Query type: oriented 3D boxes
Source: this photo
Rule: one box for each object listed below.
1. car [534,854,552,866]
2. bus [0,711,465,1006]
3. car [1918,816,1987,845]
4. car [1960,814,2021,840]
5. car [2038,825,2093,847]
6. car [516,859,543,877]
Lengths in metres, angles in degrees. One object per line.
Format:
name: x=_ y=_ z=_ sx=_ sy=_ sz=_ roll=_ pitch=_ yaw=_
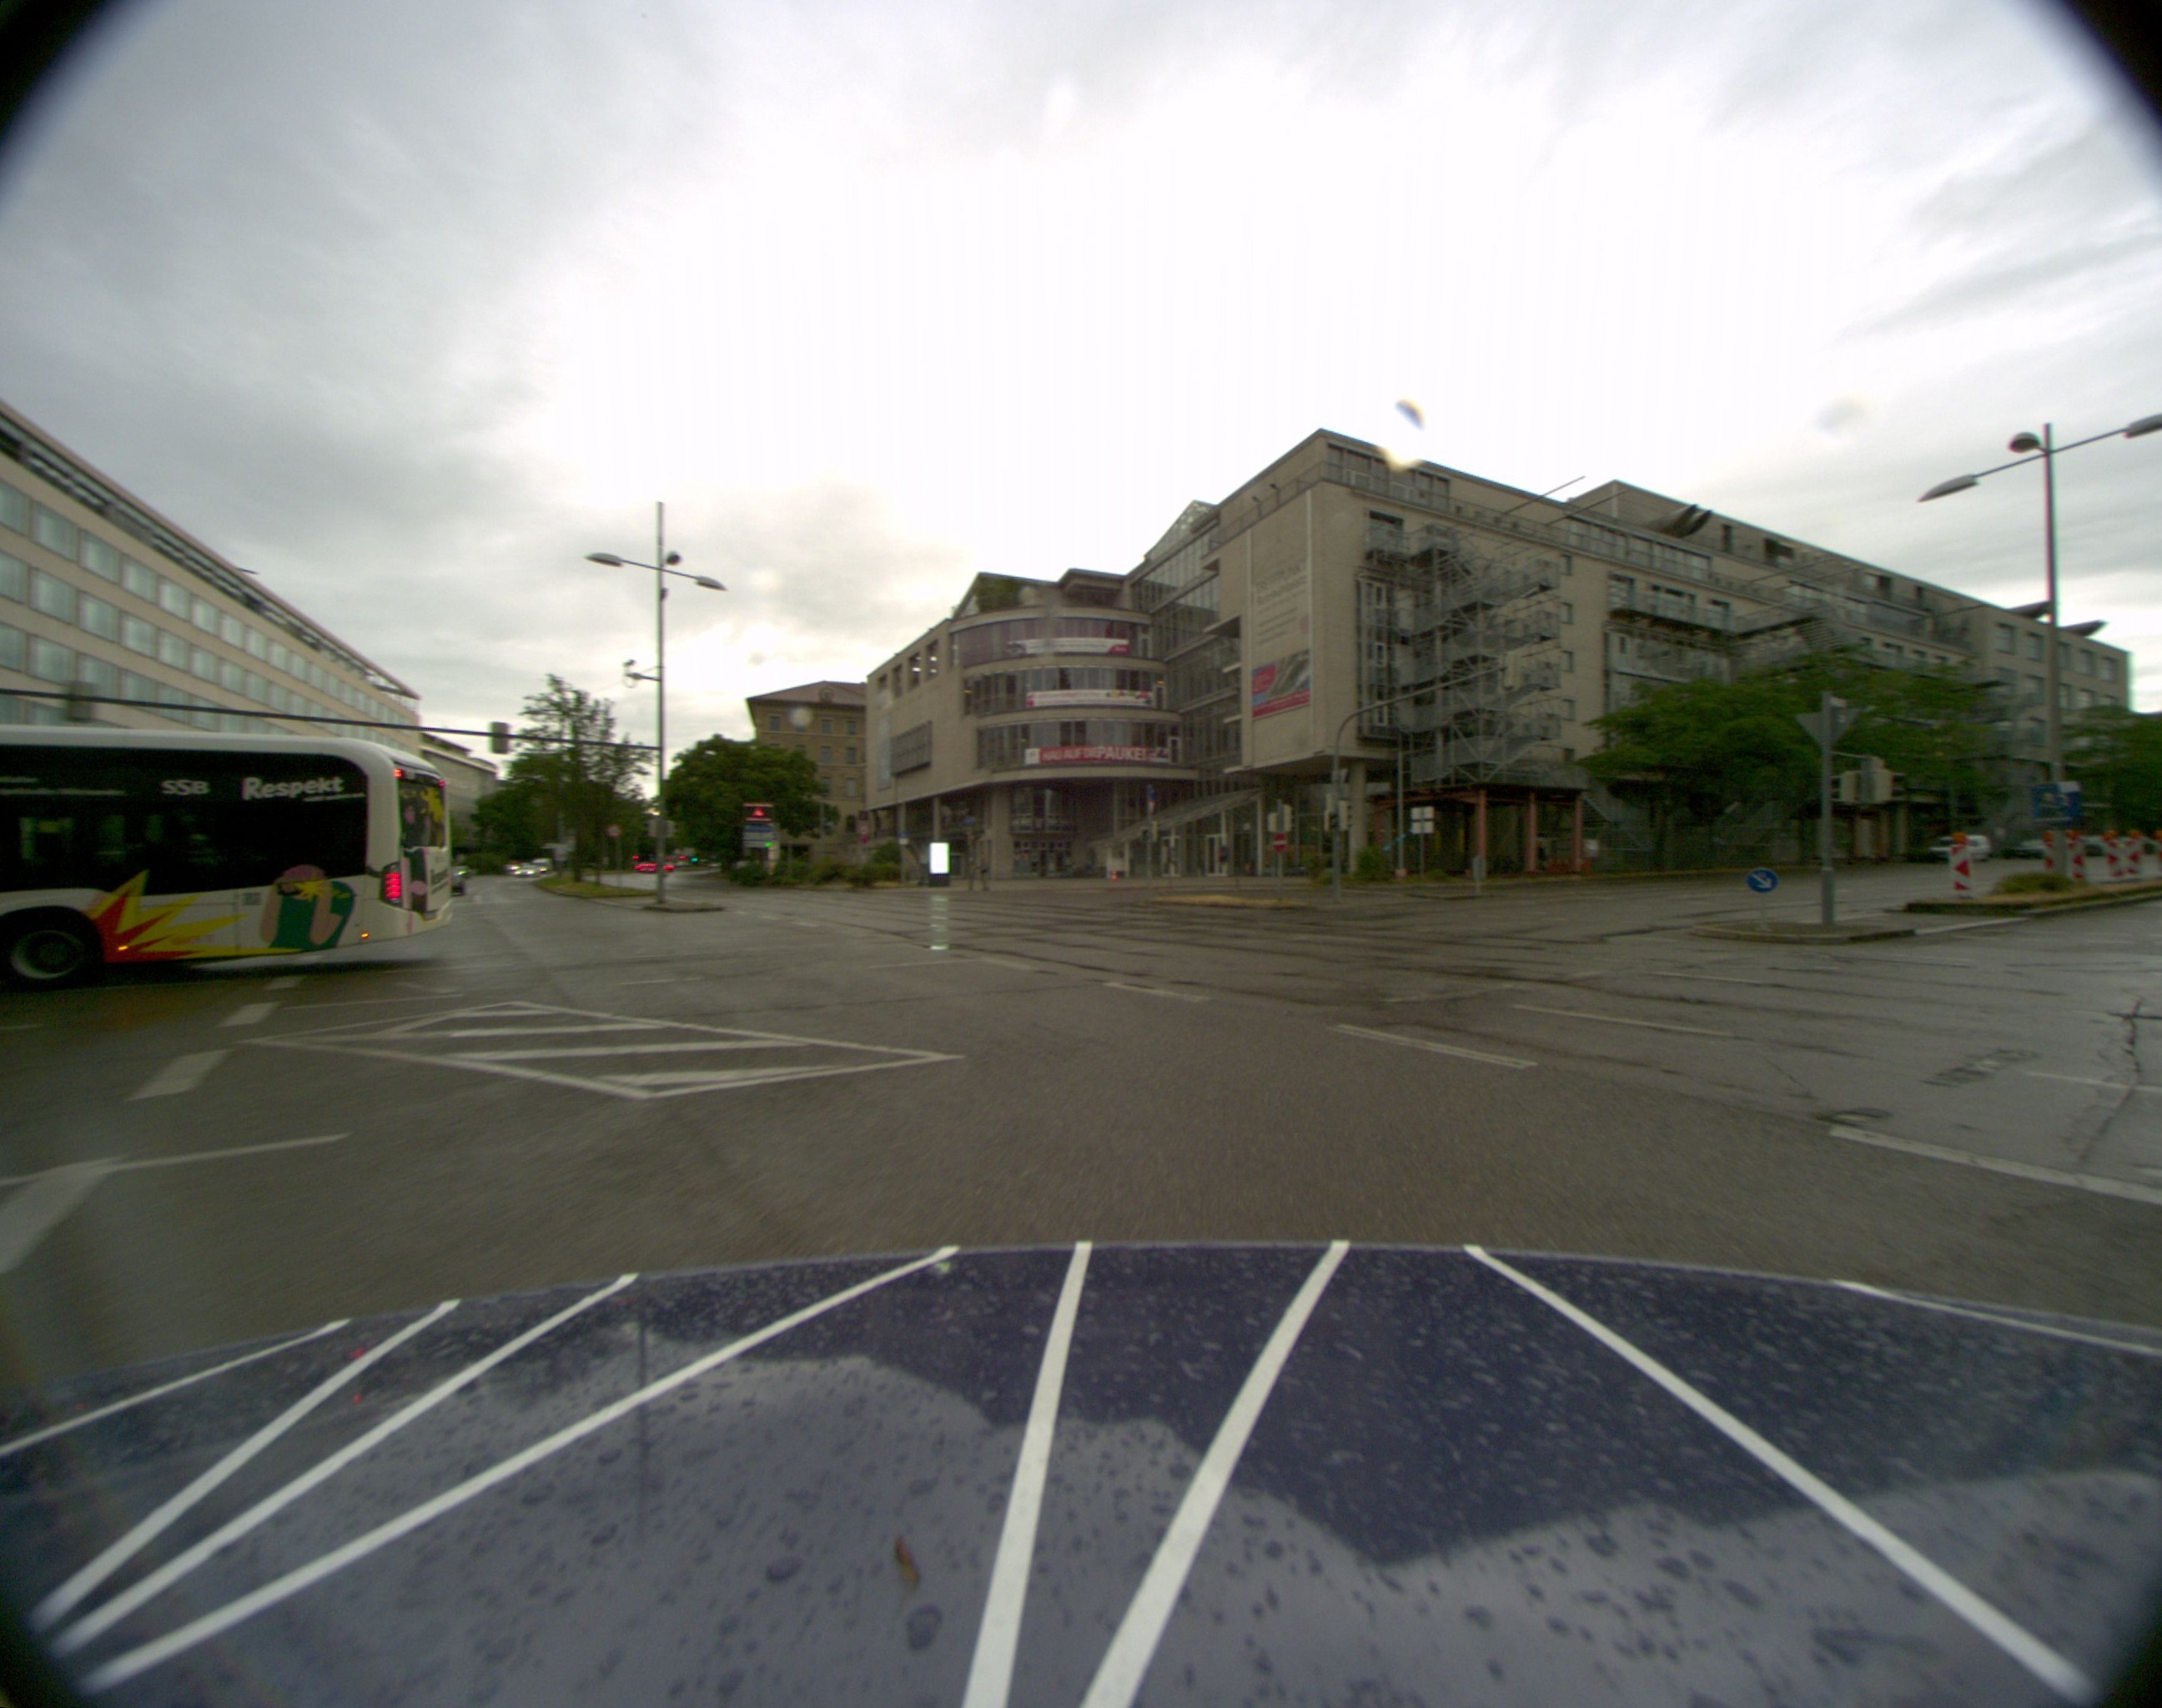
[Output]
car: x=-91.228 y=1.037 z=128.903 sx=2.003 sy=2.002 sz=3.991 roll=-1 pitch=0 yaw=-27
bus: x=-13.894 y=0.068 z=10.276 sx=8.098 sy=3.568 sz=2.681 roll=-2 pitch=1 yaw=-25
car: x=57.801 y=-1.587 z=50.388 sx=4.342 sy=1.783 sz=1.996 roll=-2 pitch=1 yaw=-27
car: x=67.504 y=-1.996 z=56.405 sx=4.342 sy=1.783 sz=1.996 roll=-2 pitch=1 yaw=-27
car: x=74.483 y=-1.347 z=57.467 sx=4.342 sy=1.501 sz=1.755 roll=-2 pitch=1 yaw=-27
car: x=-65.429 y=1.633 z=90.215 sx=1.983 sy=2.116 sz=5.094 roll=-1 pitch=0 yaw=-30
